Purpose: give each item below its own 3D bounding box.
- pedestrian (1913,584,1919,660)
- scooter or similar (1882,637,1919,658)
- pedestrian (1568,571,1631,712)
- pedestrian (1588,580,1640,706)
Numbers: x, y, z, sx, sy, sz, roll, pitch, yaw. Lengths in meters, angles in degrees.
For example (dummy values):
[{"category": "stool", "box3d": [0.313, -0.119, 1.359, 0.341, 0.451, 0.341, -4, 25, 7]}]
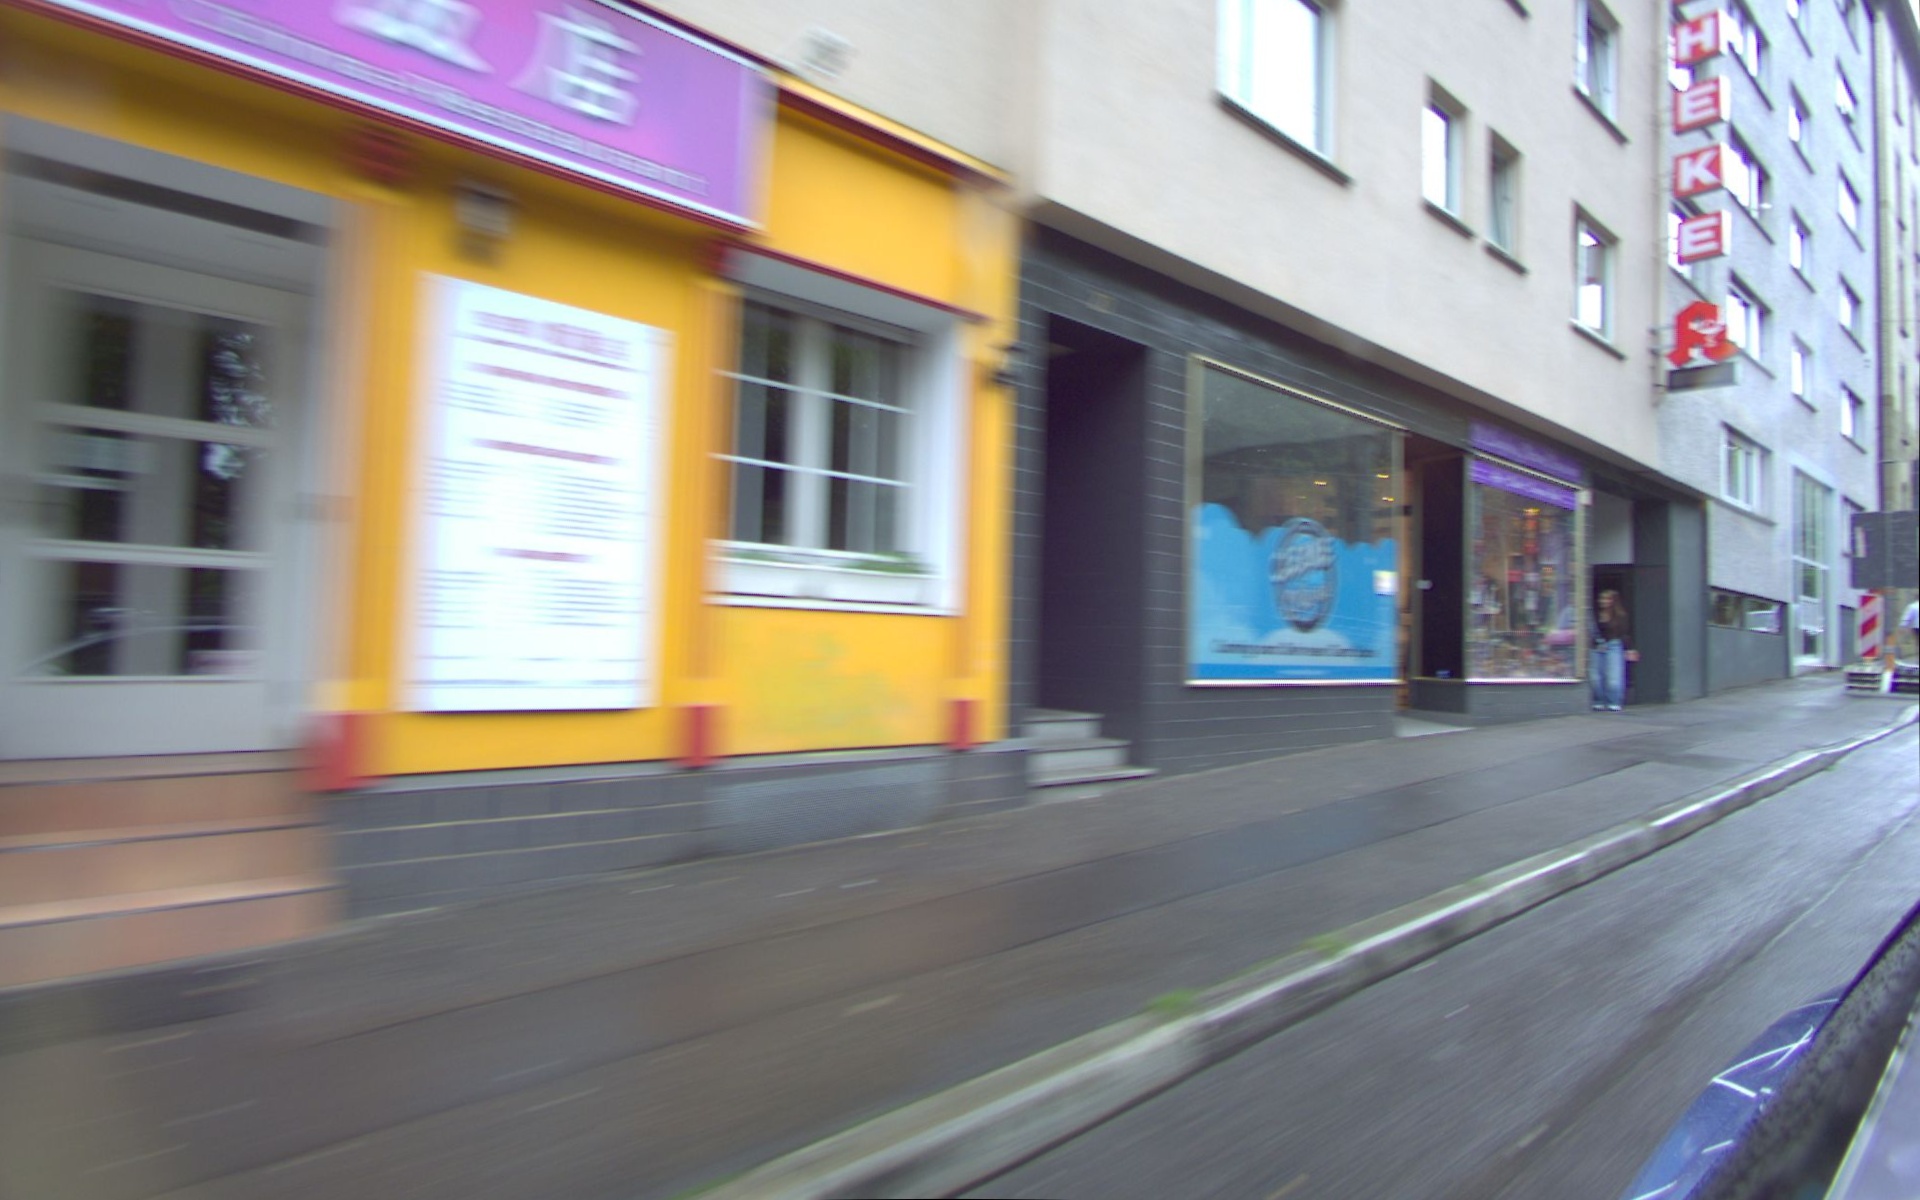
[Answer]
[{"category": "pedestrian", "box3d": [23.117, 0.518, 23.824, 0.822, 1.780, 0.853, 2, -3, -39]}, {"category": "scooter or similar", "box3d": [25.100, 1.261, 26.926, 0.253, 0.513, 0.862, 1, 0, -9]}, {"category": "pedestrian", "box3d": [8.128, 0.515, 12.866, 0.506, 1.742, 0.463, 0, -2, -31]}, {"category": "pedestrian", "box3d": [8.802, 0.574, 13.634, 0.325, 1.666, 0.482, 1, -2, -38]}]
